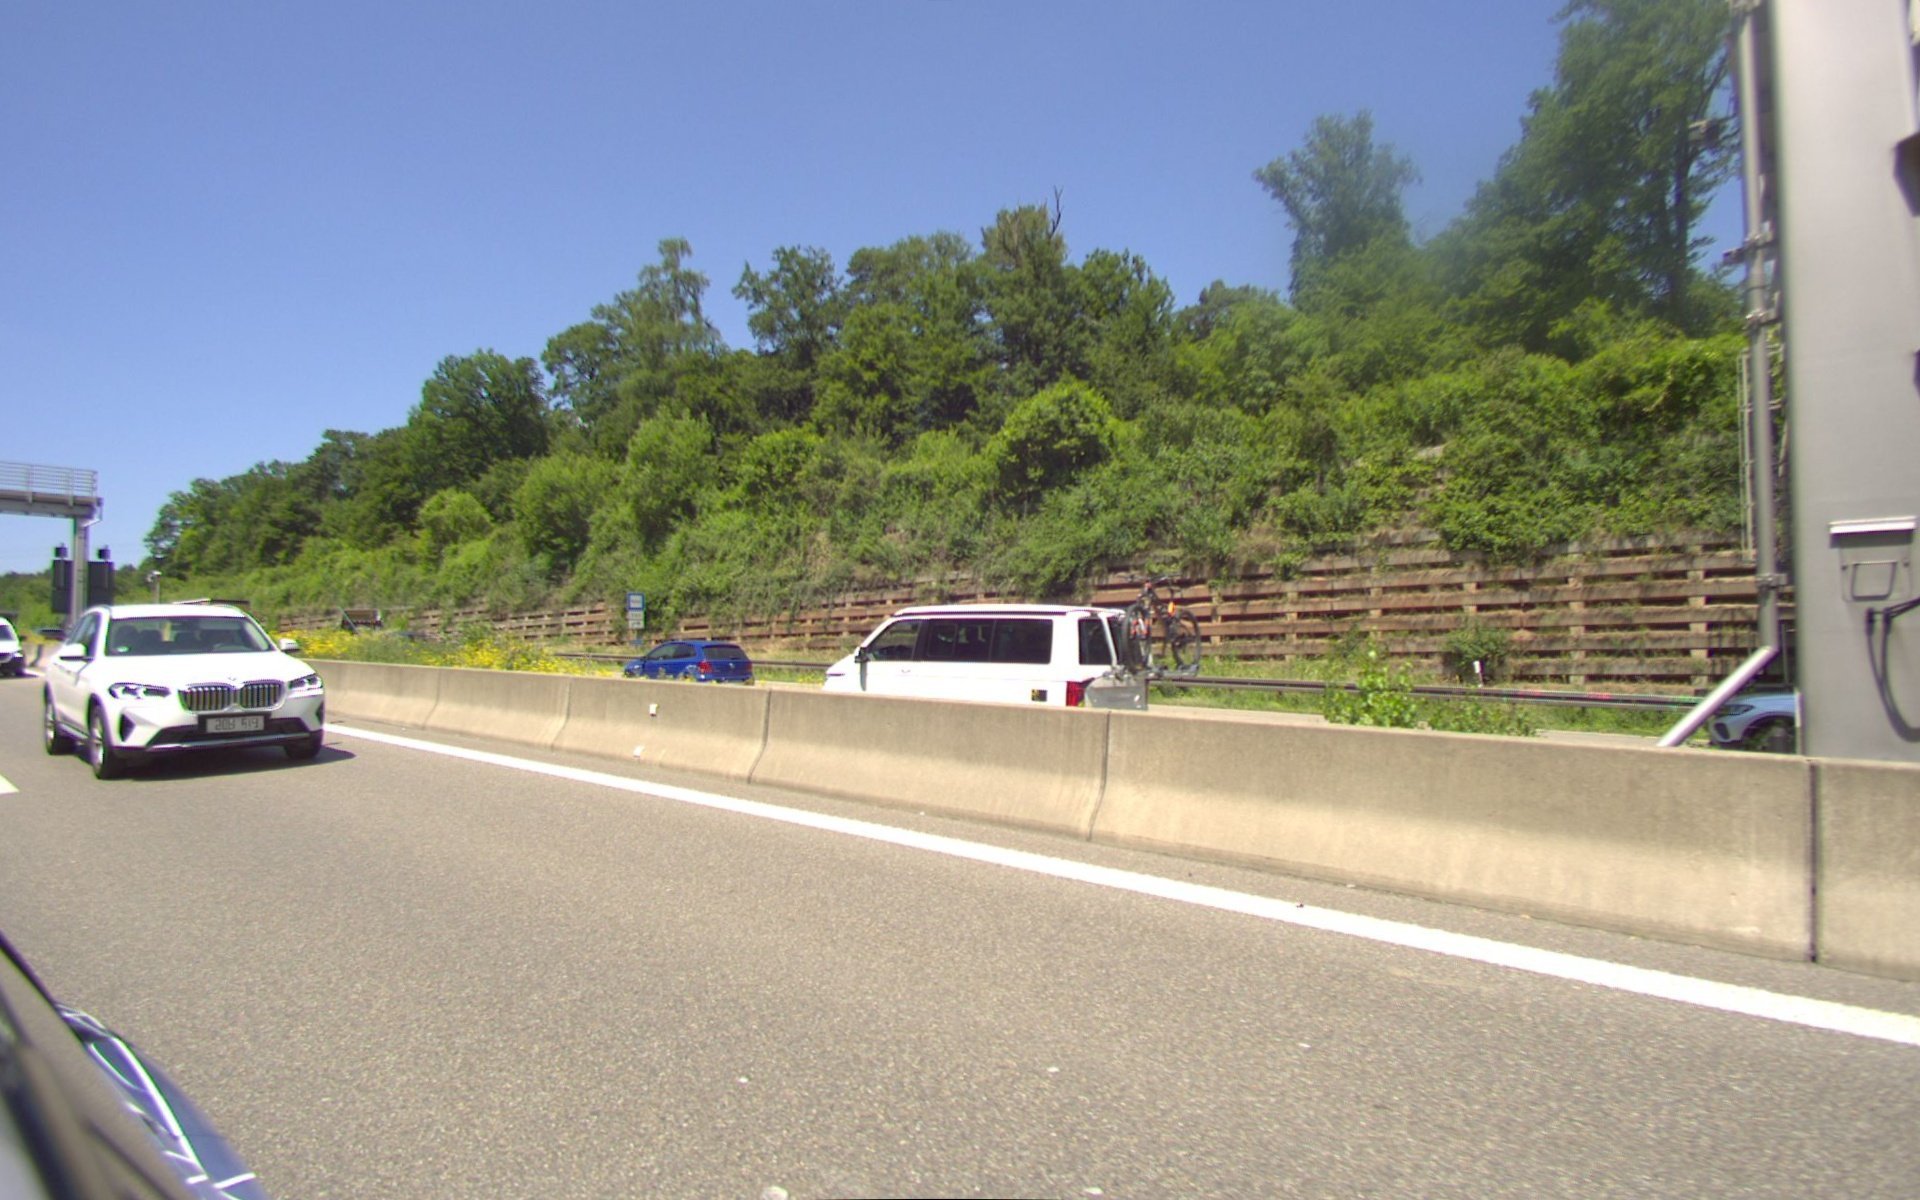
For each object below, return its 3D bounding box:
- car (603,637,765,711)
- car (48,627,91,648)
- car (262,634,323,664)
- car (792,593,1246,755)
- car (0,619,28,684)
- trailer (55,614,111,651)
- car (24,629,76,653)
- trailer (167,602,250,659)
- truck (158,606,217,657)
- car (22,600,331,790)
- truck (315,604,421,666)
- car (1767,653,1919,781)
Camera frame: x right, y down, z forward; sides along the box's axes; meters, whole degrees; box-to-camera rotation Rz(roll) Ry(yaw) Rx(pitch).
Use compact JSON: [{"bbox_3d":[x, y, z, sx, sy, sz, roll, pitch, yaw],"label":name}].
[{"bbox_3d":[-6.679,1.724,24.280,4.196,1.617,1.690,-2,-3,41],"label":"car"},{"bbox_3d":[-72.516,3.064,82.386,4.859,1.617,1.982,-2,-3,41],"label":"car"},{"bbox_3d":[-38.519,2.821,58.388,4.368,1.616,1.781,-2,-3,41],"label":"car"},{"bbox_3d":[0.516,0.895,13.327,5.990,1.700,1.976,-2,-3,40],"label":"car"},{"bbox_3d":[-28.874,1.517,29.608,4.500,1.788,1.972,-2,0,42],"label":"car"},{"bbox_3d":[-104.142,3.915,120.018,13.986,4.132,2.947,-2,-4,41],"label":"trailer"},{"bbox_3d":[-61.841,2.804,68.748,4.710,1.617,1.982,-2,-3,41],"label":"car"},{"bbox_3d":[-61.437,2.553,82.477,14.468,4.239,2.945,-2,-4,44],"label":"trailer"},{"bbox_3d":[-67.279,2.759,88.112,6.458,4.234,2.918,-2,-4,44],"label":"truck"},{"bbox_3d":[-8.646,0.898,11.022,4.365,1.656,1.826,-2,-1,41],"label":"car"},{"bbox_3d":[-30.647,1.843,52.246,7.058,3.016,2.552,-2,-3,41],"label":"truck"},{"bbox_3d":[12.832,1.439,12.491,4.371,1.537,1.878,-2,-3,42],"label":"car"}]
